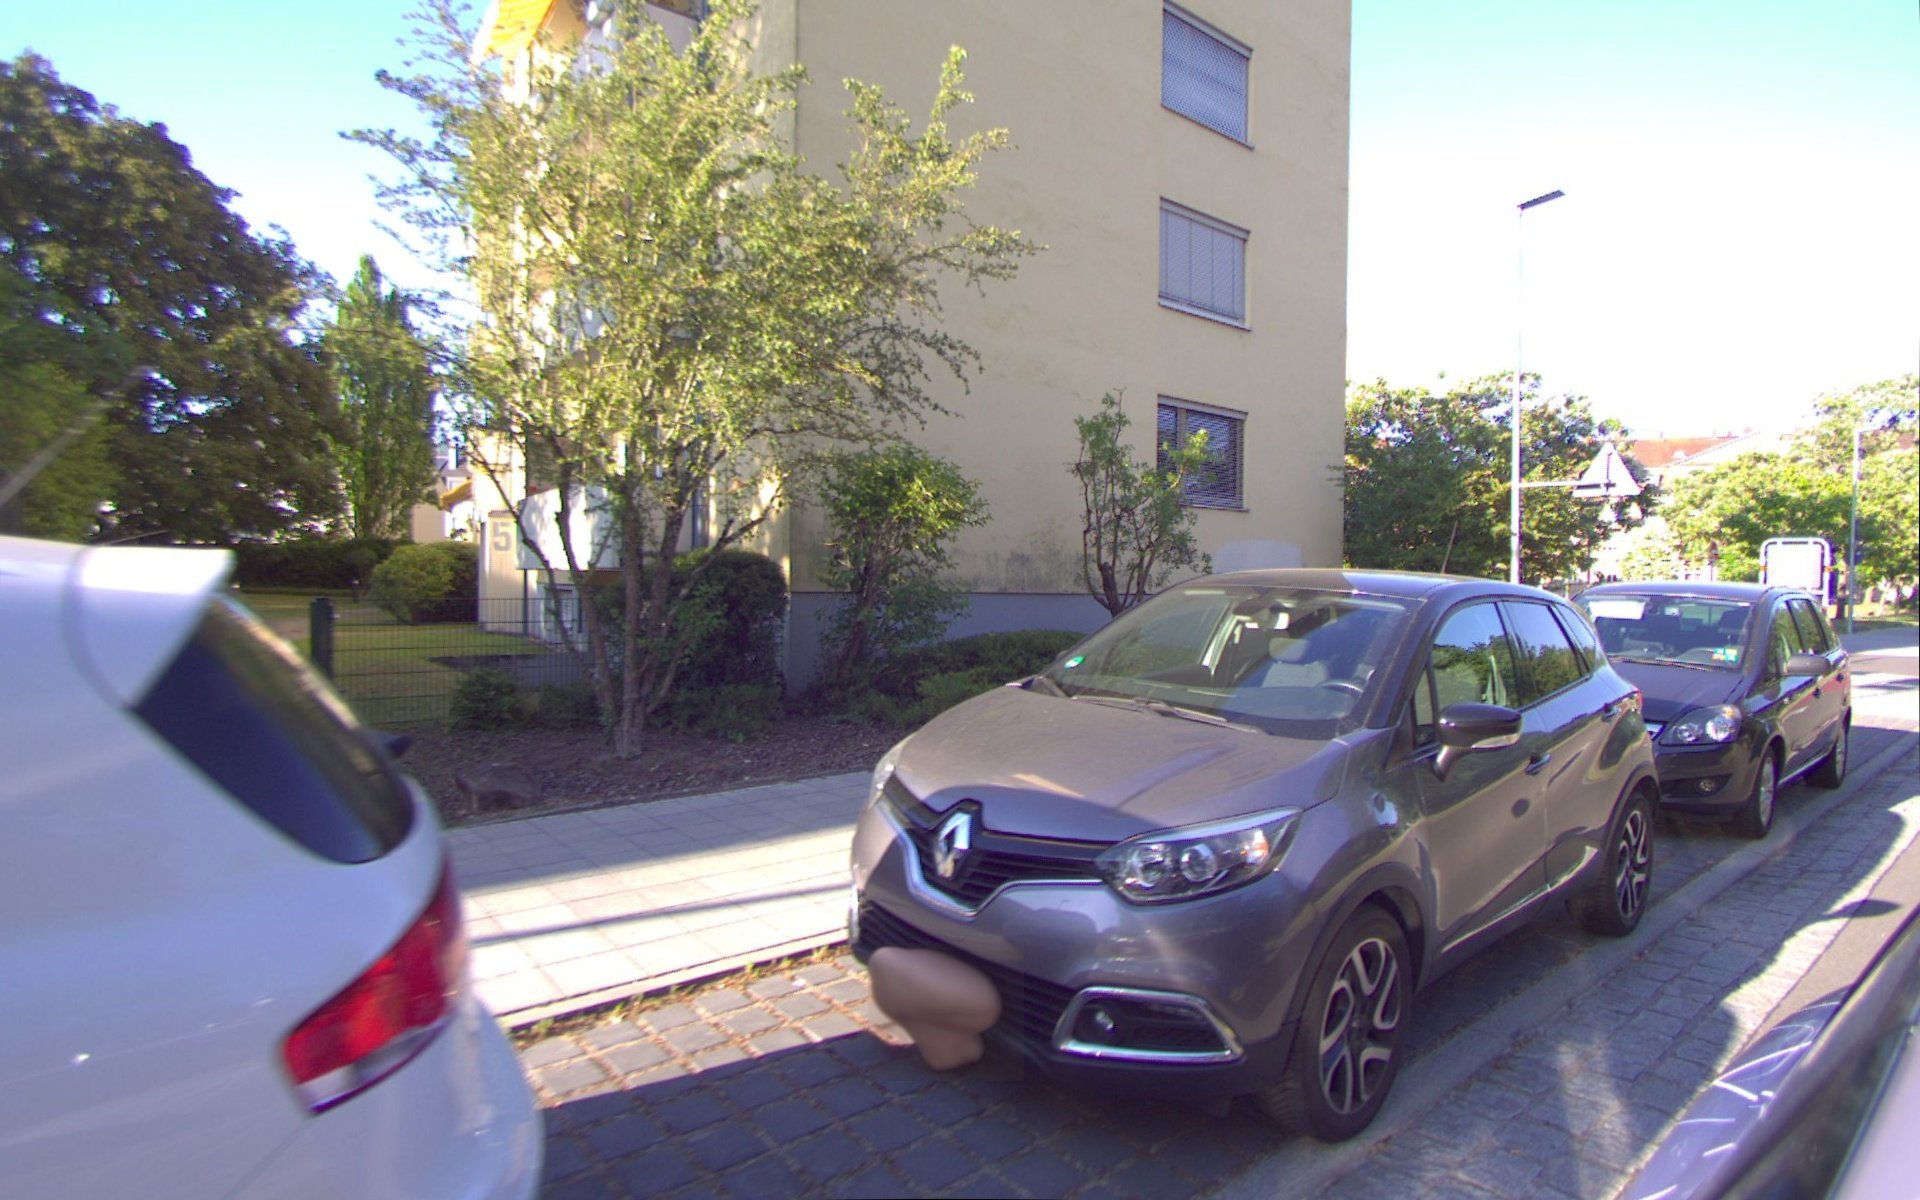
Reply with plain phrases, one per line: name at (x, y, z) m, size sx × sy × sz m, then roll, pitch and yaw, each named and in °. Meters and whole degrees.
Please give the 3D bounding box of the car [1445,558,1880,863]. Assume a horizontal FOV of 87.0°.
car at (5.376, 0.567, 7.525) m, size 4.097 × 1.630 × 1.713 m, roll 0°, pitch 3°, yaw -42°

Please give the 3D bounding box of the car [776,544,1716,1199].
car at (1.472, 0.623, 4.076) m, size 4.072 × 1.575 × 1.682 m, roll -1°, pitch 3°, yaw -41°

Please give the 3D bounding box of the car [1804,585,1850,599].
car at (97.288, -0.912, 113.602) m, size 3.675 × 1.518 × 1.707 m, roll 0°, pitch 0°, yaw 32°

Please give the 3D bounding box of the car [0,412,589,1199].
car at (-2.536, 0.599, 0.559) m, size 4.056 × 1.575 × 1.683 m, roll 0°, pitch 3°, yaw -40°
